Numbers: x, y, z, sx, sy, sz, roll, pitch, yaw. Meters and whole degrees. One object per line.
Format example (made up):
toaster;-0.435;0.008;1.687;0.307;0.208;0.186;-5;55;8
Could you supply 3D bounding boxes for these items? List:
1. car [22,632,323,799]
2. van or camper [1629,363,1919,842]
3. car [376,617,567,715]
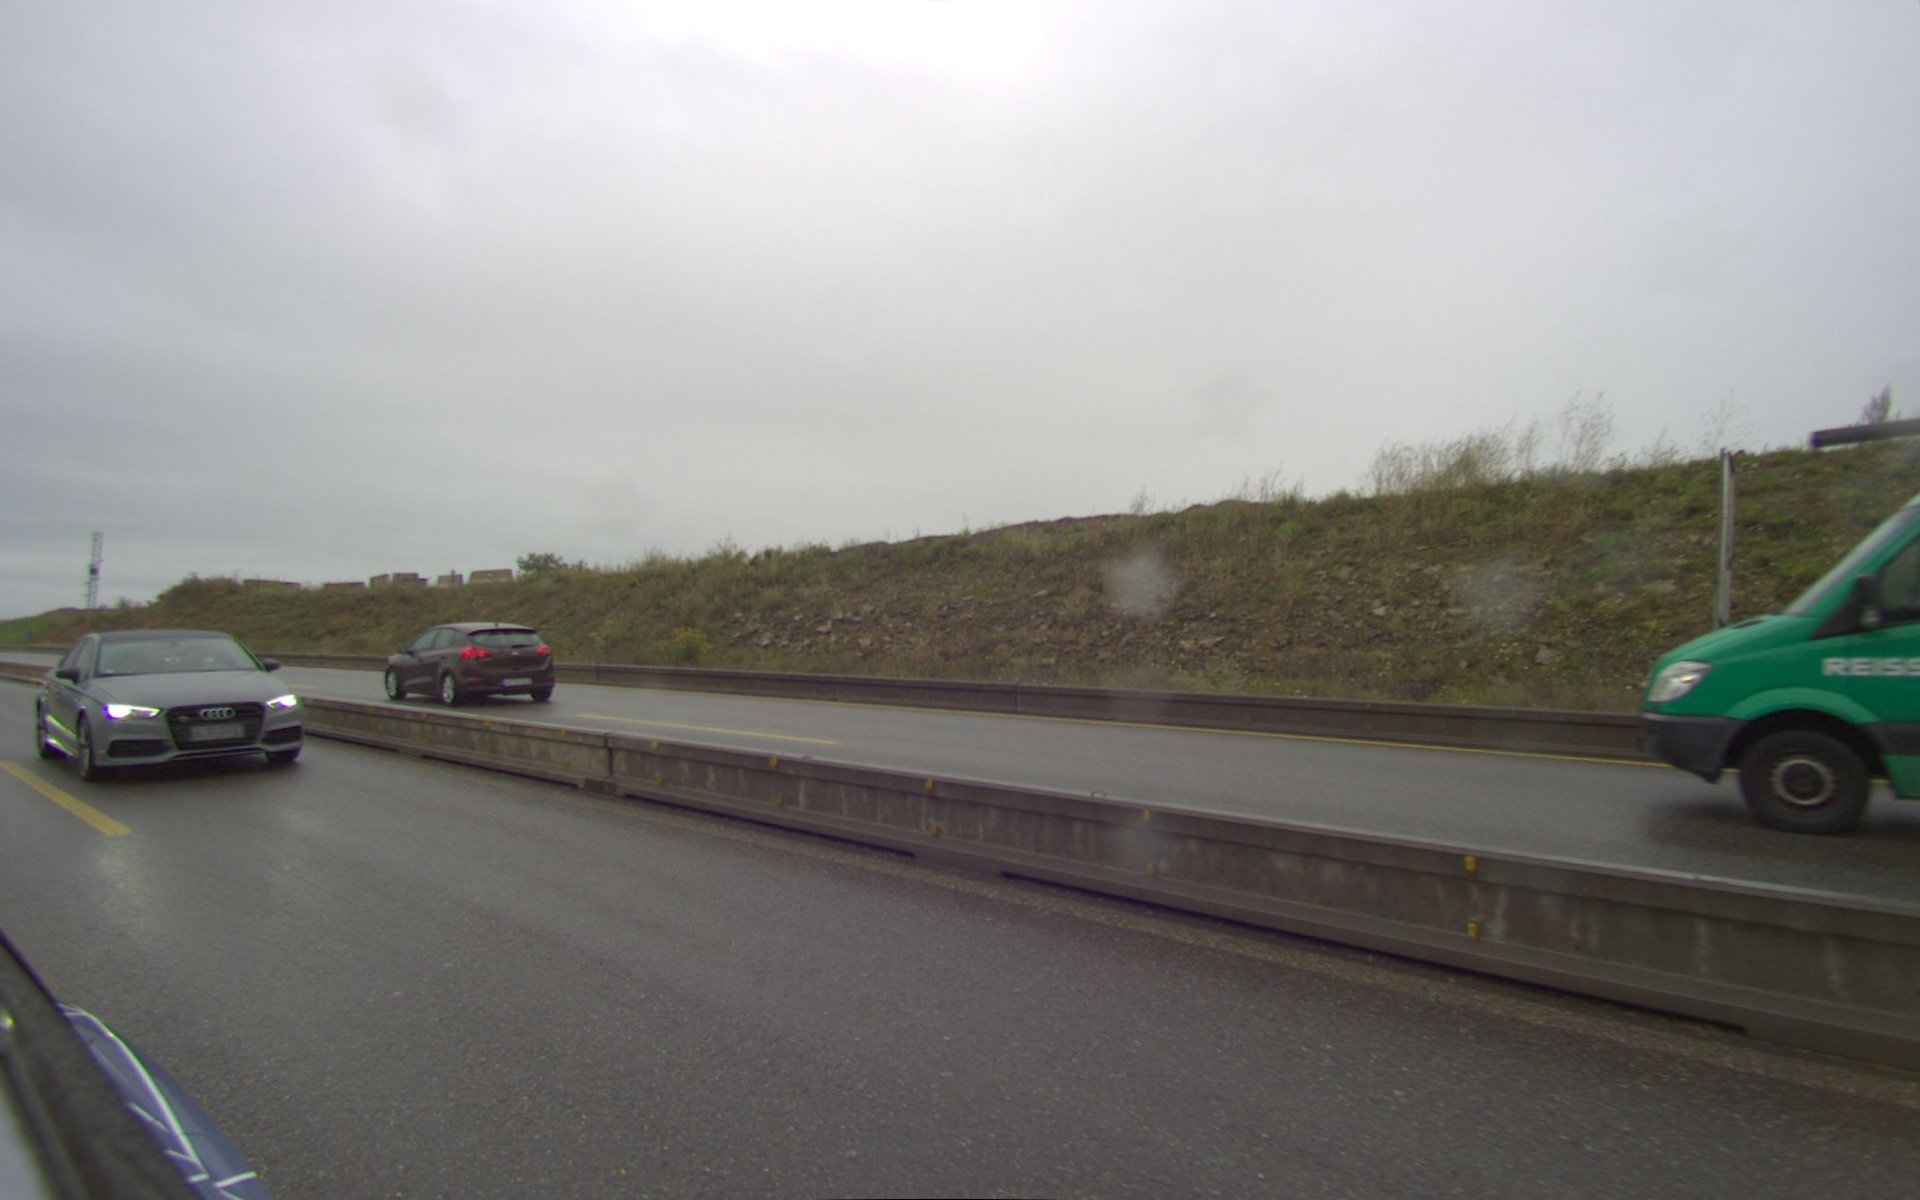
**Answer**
car;-8.489;1.063;10.786;4.085;1.393;1.781;-1;-1;41
van or camper;7.518;-0.029;5.739;5.941;2.839;2.078;-2;0;42
car;-8.989;1.129;18.486;4.044;1.548;1.696;-2;0;41
